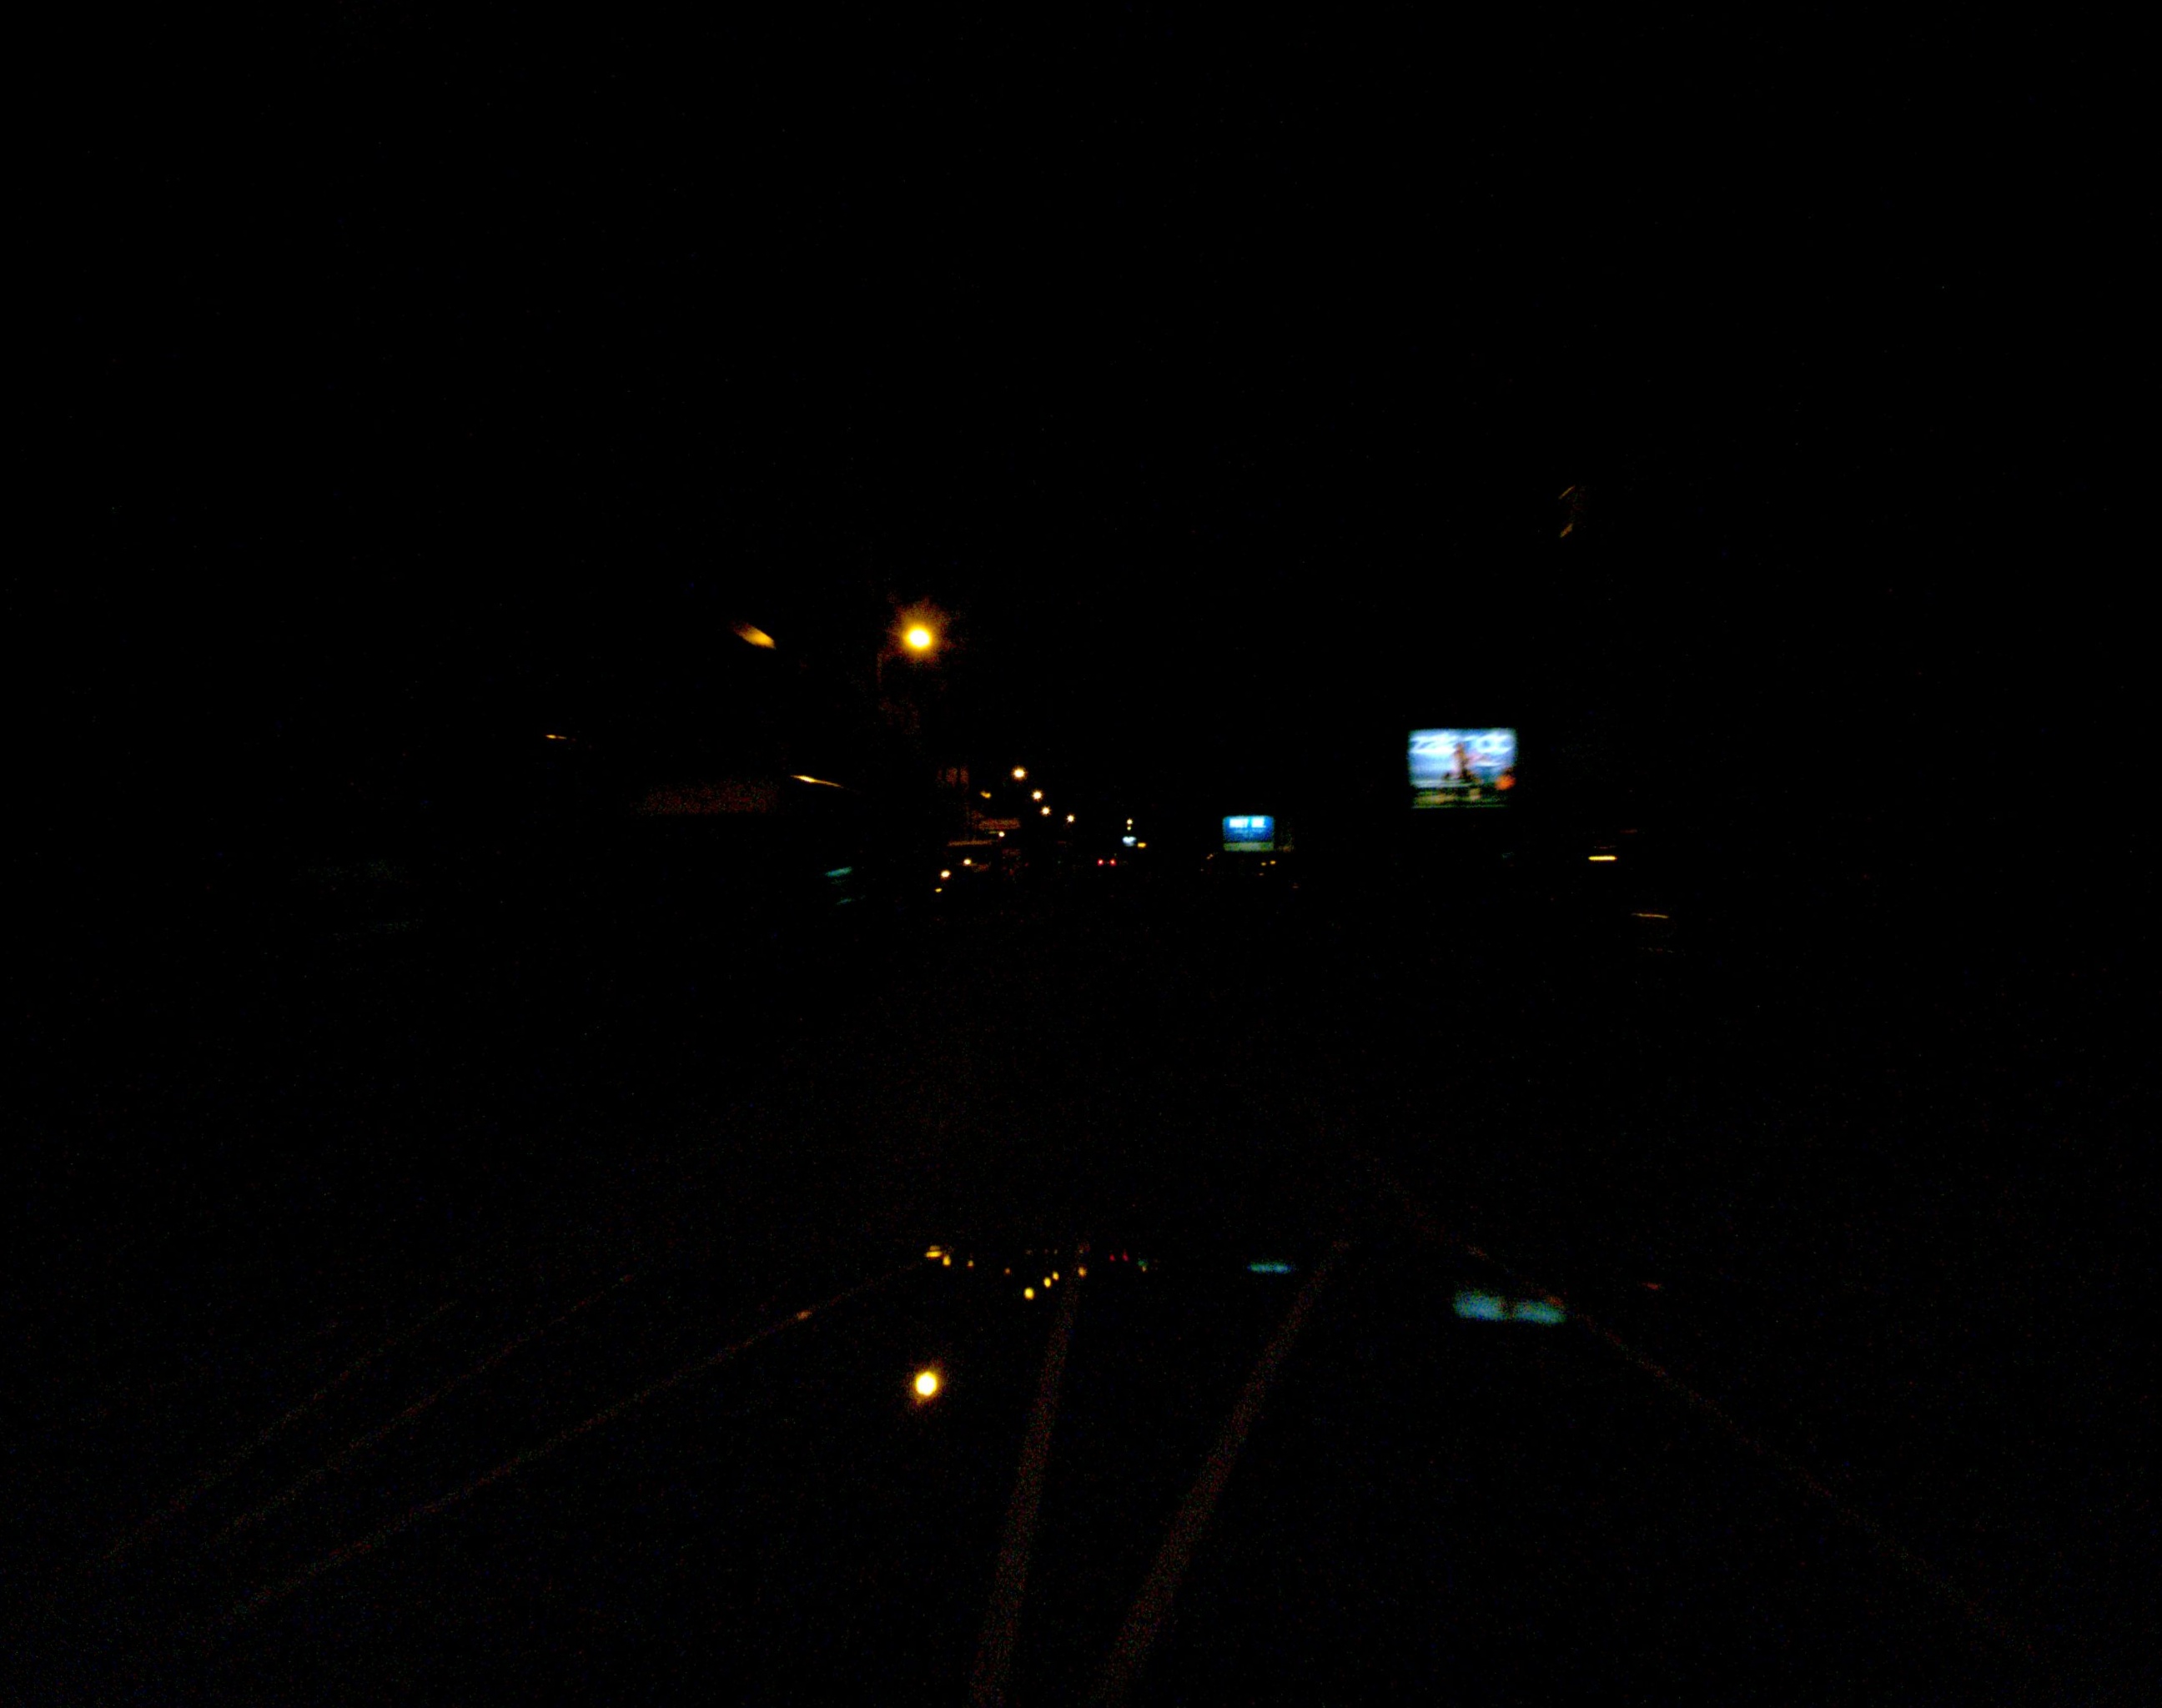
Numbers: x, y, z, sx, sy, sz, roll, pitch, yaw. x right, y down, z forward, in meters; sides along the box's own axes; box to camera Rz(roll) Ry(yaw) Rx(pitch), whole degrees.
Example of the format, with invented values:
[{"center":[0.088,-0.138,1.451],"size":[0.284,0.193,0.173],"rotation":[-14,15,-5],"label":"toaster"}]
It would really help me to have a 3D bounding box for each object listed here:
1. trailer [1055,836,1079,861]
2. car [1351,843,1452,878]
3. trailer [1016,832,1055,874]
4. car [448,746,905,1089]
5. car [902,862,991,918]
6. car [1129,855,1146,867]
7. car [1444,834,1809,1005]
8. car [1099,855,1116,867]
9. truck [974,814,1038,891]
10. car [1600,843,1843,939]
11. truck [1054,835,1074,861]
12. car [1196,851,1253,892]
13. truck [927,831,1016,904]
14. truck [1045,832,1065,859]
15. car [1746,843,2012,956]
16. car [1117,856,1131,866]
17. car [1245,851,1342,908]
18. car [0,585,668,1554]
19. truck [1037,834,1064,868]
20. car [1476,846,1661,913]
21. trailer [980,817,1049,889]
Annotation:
[{"center":[-2.566,-1.137,146.009],"size":[3.072,4.449,13.413],"rotation":[-2,1,4],"label":"trailer"},{"center":[16.514,0.321,39.278],"size":[4.410,1.644,1.922],"rotation":[-1,0,3],"label":"car"},{"center":[-3.978,-0.060,68.295],"size":[2.885,3.504,8.283],"rotation":[-1,0,0],"label":"trailer"},{"center":[-3.852,0.493,8.948],"size":[1.998,2.556,6.013],"rotation":[-4,0,0],"label":"car"},{"center":[-4.071,1.051,23.867],"size":[1.834,1.399,4.908],"rotation":[-4,0,0],"label":"car"},{"center":[6.630,0.772,89.191],"size":[1.761,1.382,4.309],"rotation":[-1,0,1],"label":"car"},{"center":[7.031,0.699,10.517],"size":[1.818,1.838,4.414],"rotation":[-1,0,-1],"label":"car"},{"center":[3.099,0.834,90.392],"size":[1.825,1.429,4.398],"rotation":[-1,0,0],"label":"car"},{"center":[-3.936,-0.100,41.013],"size":[2.772,3.742,5.227],"rotation":[-2,1,0],"label":"truck"},{"center":[12.303,0.597,14.545],"size":[4.679,1.542,1.995],"rotation":[-1,1,-29],"label":"car"},{"center":[-3.079,-1.071,139.291],"size":[3.072,4.449,5.635],"rotation":[-2,1,4],"label":"truck"},{"center":[6.763,0.759,36.273],"size":[1.809,1.788,4.878],"rotation":[-1,0,0],"label":"car"},{"center":[-4.245,0.477,30.819],"size":[2.407,2.579,6.597],"rotation":[-1,0,2],"label":"truck"},{"center":[-4.072,-1.270,121.208],"size":[2.660,3.850,10.232],"rotation":[-2,-2,0],"label":"truck"},{"center":[12.489,0.583,11.847],"size":[4.421,1.432,1.789],"rotation":[-1,1,-29],"label":"car"},{"center":[6.088,0.972,108.151],"size":[1.690,1.357,3.879],"rotation":[-2,1,0],"label":"car"},{"center":[6.987,0.777,25.505],"size":[1.952,1.678,4.816],"rotation":[-1,0,1],"label":"car"},{"center":[-3.968,0.607,2.423],"size":[2.134,2.556,5.907],"rotation":[-4,0,-3],"label":"car"},{"center":[-3.740,-0.275,95.367],"size":[2.798,3.947,9.820],"rotation":[-2,0,0],"label":"truck"},{"center":[12.809,0.595,19.962],"size":[4.420,1.551,1.996],"rotation":[-1,1,-24],"label":"car"},{"center":[-3.880,-0.134,47.975],"size":[2.772,3.742,14.654],"rotation":[-2,1,1],"label":"trailer"}]
